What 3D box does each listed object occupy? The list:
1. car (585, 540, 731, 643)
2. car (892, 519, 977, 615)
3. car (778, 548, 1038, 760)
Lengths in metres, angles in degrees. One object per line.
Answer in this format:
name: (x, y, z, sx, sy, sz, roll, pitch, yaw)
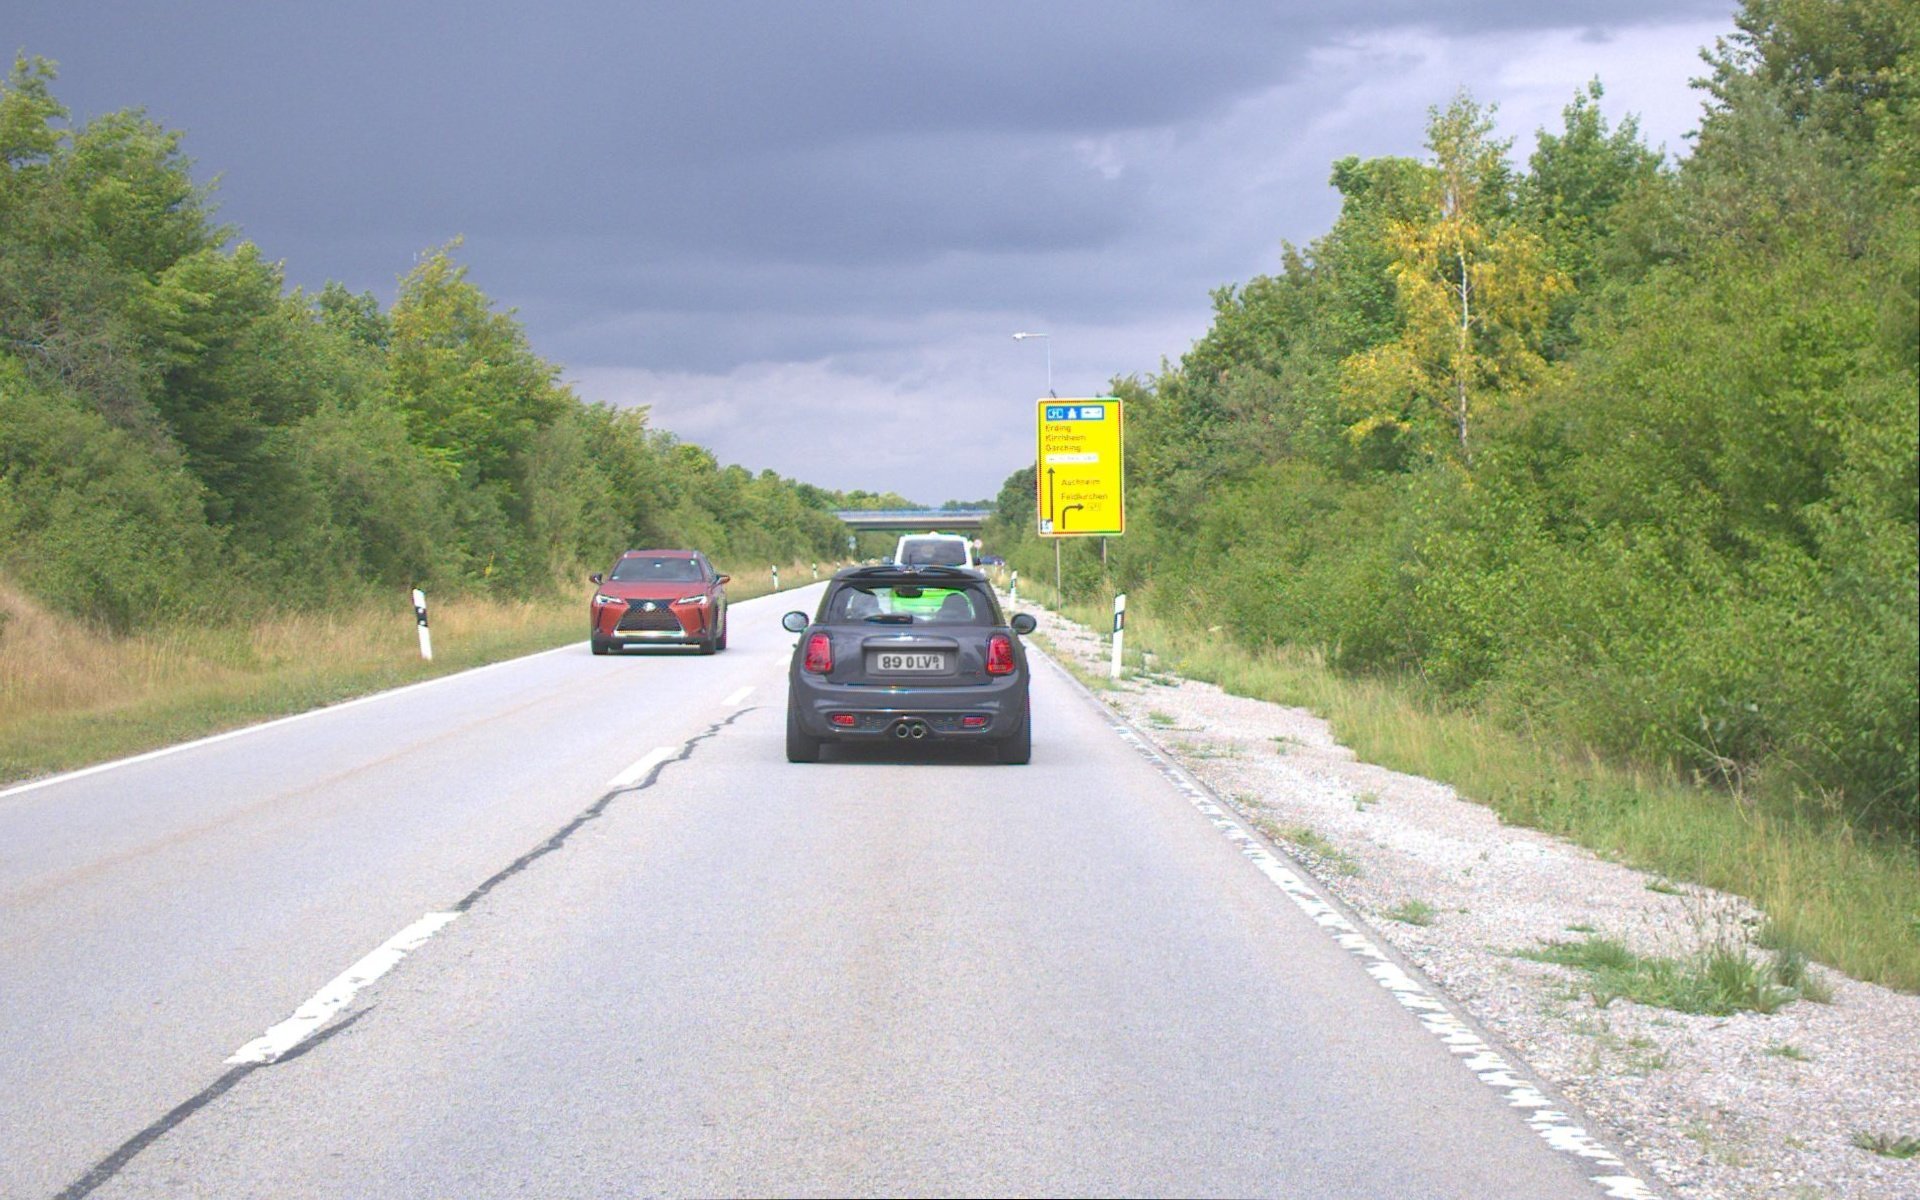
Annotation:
car: (-4.453, -0.160, 51.207, 1.829, 1.460, 4.411, 0, 1, -1)
car: (-0.572, -0.740, 76.440, 1.819, 2.047, 4.000, 1, 1, -1)
car: (-0.379, 0.349, 25.596, 1.756, 1.422, 4.000, 1, 1, -1)
